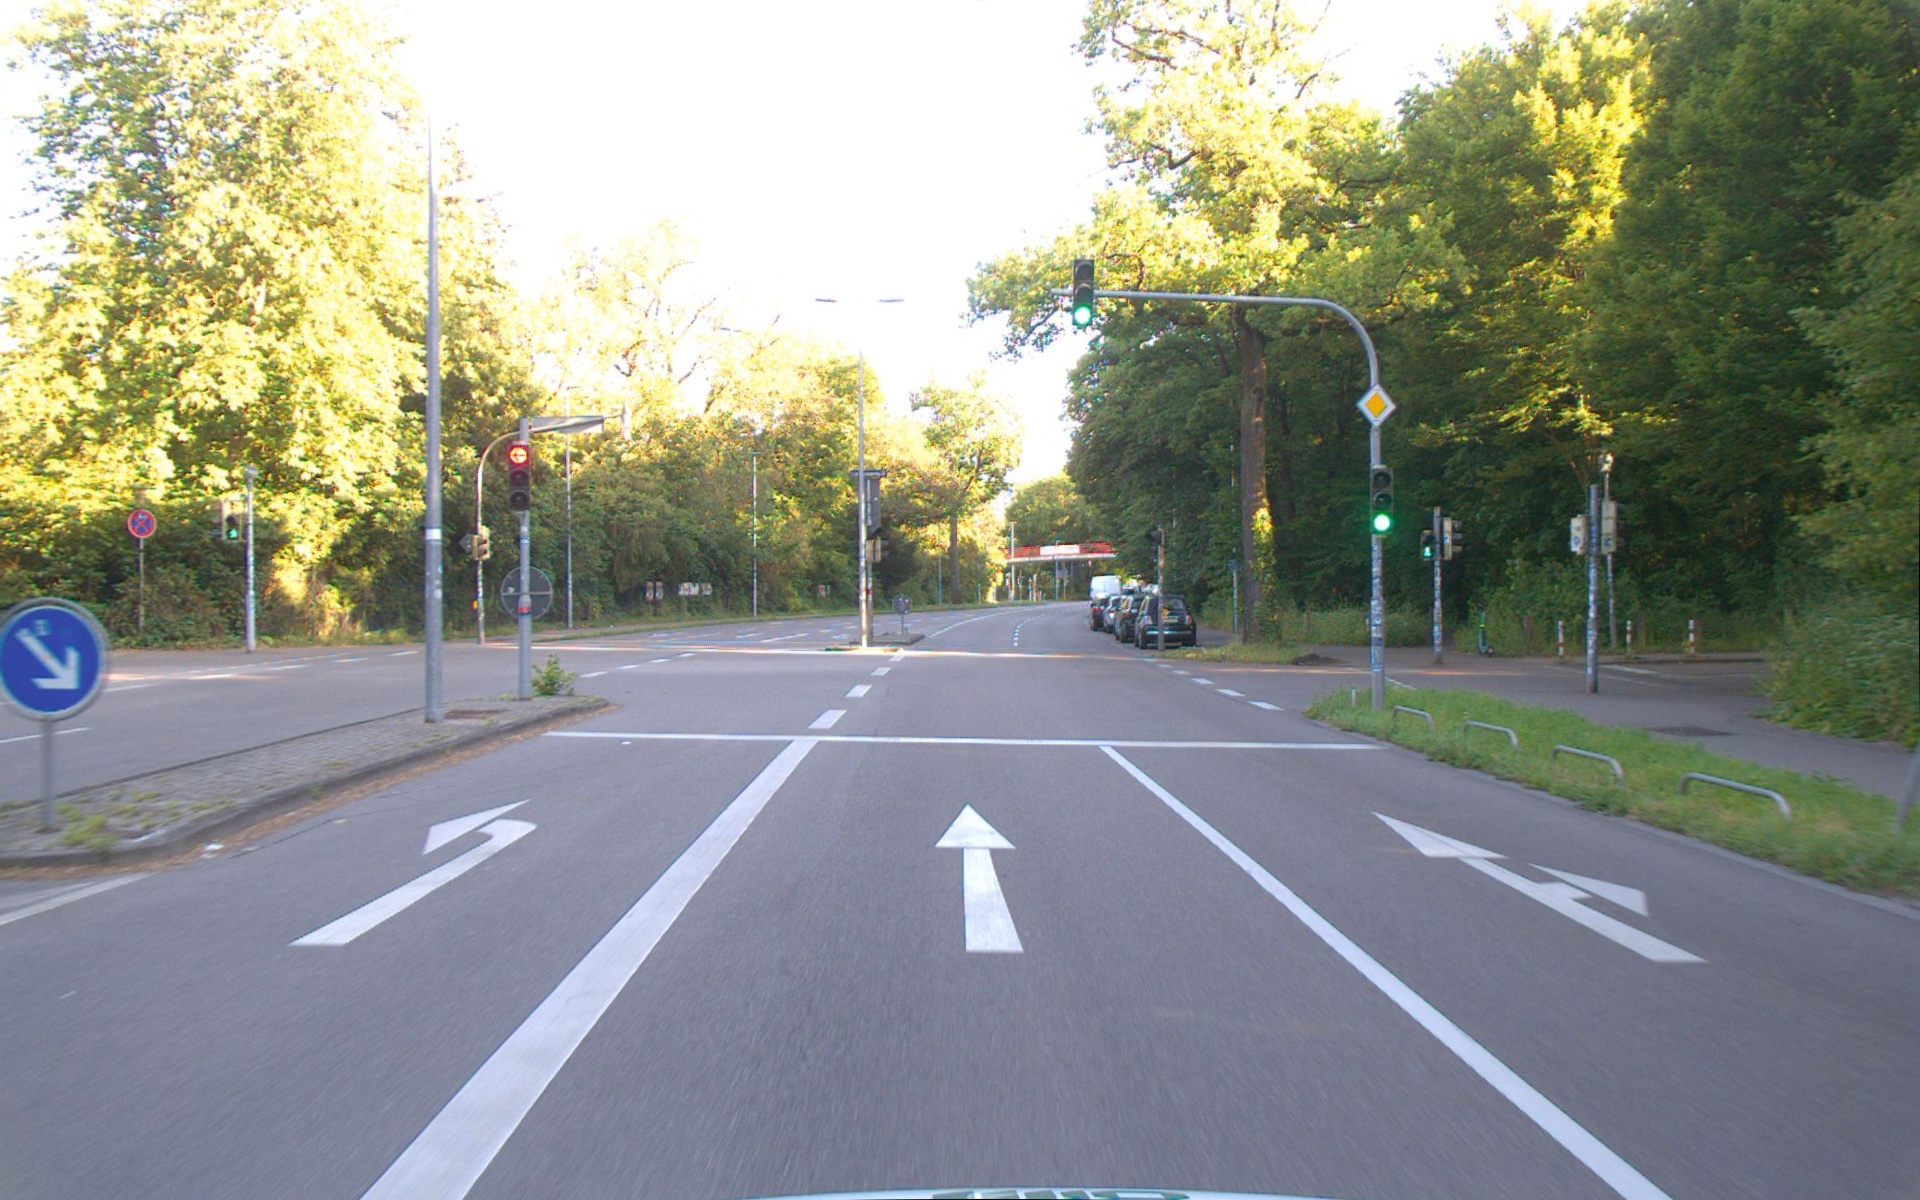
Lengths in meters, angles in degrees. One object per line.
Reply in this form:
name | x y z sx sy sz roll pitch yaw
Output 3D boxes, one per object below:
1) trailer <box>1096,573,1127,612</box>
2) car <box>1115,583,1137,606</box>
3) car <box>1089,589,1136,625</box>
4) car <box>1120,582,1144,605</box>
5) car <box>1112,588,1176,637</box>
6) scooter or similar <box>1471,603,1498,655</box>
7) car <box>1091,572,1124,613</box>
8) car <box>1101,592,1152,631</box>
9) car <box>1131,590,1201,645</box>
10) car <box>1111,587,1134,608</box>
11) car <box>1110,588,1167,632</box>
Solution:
trailer | 10.152 -0.489 110.324 1.863 2.466 5.130 -1 0 7
car | 13.935 -0.442 138.642 1.721 1.835 4.741 -1 0 7
car | 6.405 0.306 69.902 1.682 1.436 4.488 -1 0 2
car | 15.712 -0.620 151.180 1.829 2.016 5.479 -1 0 9
car | 5.991 0.401 54.181 1.682 1.494 4.989 -1 0 2
scooter or similar | 12.068 0.657 38.081 0.370 1.164 1.224 0 0 7
car | 9.256 -0.439 103.661 1.863 2.466 5.580 -1 0 7
car | 6.506 0.451 64.948 1.682 1.436 4.125 -1 0 2
car | 5.909 0.484 47.750 1.682 1.494 3.757 -1 0 2
car | 12.658 -0.200 128.868 1.552 1.521 3.183 -1 0 10
car | 6.414 0.346 59.745 1.682 1.494 4.203 -1 0 2
